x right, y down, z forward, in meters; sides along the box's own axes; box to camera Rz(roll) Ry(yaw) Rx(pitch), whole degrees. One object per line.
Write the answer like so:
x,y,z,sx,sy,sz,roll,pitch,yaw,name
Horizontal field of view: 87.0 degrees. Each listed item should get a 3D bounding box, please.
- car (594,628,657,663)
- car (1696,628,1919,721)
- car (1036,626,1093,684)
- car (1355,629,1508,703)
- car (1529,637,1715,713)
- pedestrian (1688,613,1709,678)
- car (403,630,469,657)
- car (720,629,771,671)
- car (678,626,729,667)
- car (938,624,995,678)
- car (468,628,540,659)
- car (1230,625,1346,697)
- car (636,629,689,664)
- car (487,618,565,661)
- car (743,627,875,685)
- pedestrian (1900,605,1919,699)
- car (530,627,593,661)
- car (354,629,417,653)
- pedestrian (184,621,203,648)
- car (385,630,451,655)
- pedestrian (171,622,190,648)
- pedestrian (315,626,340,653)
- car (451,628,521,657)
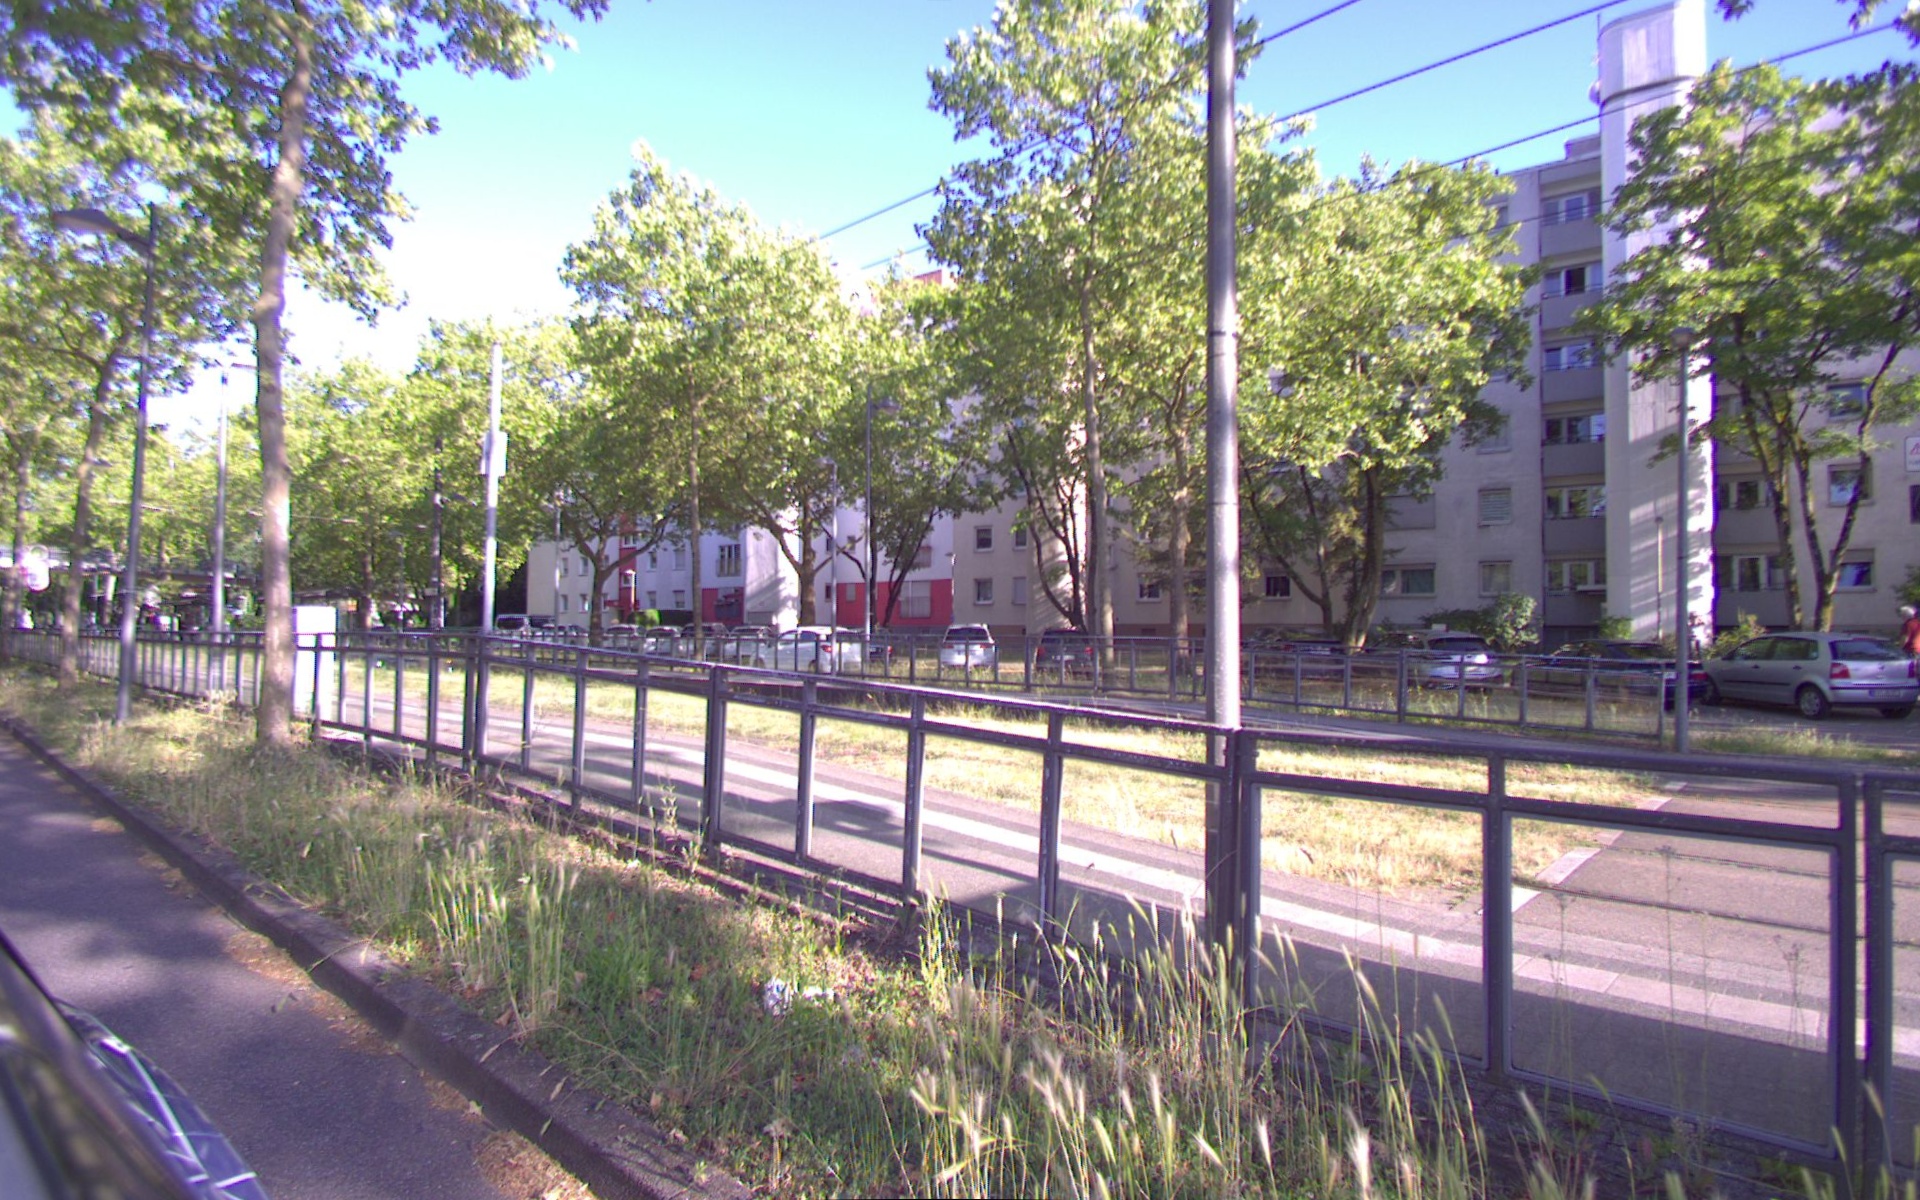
-15.244,2.047,46.283,1.870,1.515,4.506,-1,-2,-7,car
15.183,1.264,18.120,1.549,1.442,3.287,-1,-1,-1,car
3.051,1.535,29.077,1.448,1.520,3.375,-1,-2,8,car
10.161,1.374,22.076,1.516,1.437,3.388,0,-1,-5,car
12.768,1.399,19.765,1.445,1.263,3.382,0,-1,2,car
20.950,1.287,28.716,0.449,1.805,0.315,-1,-2,36,pedestrian
-31.583,2.594,61.146,1.678,1.439,4.196,-2,-1,3,car
-8.274,1.897,39.320,1.551,1.485,4.066,-1,-2,-7,car
-10.633,1.891,42.126,1.551,1.580,4.066,-1,-2,-7,car
0.196,1.540,31.771,1.623,1.556,3.992,-1,-2,0,car
-24.577,2.340,54.698,1.873,1.509,4.500,-2,-1,0,car
7.697,1.390,24.051,1.442,1.559,3.142,-1,-1,-5,car
-12.995,2.013,44.403,1.551,1.443,4.066,-1,-2,-7,car
-22.289,1.972,52.190,1.875,2.079,4.496,-2,-1,3,car
-4.212,1.485,27.880,3.717,1.460,1.614,-1,-1,42,car
18.747,1.009,19.621,0.717,1.805,0.470,-1,-1,41,pedestrian
-19.796,2.154,50.472,1.665,1.623,4.061,-1,-2,-2,car
-38.449,2.719,67.849,1.678,1.439,4.196,-2,-1,3,car
-47.369,2.125,62.555,0.715,1.647,0.721,-1,-3,39,pedestrian
-33.675,2.629,62.991,1.678,1.439,4.196,-2,-1,3,car
-48.031,2.158,62.335,0.681,1.525,0.638,0,-3,29,pedestrian
-27.896,1.726,44.640,0.662,1.136,0.687,-1,-5,43,pedestrian
-26.870,2.388,57.518,1.873,1.509,4.500,-2,-1,0,car
